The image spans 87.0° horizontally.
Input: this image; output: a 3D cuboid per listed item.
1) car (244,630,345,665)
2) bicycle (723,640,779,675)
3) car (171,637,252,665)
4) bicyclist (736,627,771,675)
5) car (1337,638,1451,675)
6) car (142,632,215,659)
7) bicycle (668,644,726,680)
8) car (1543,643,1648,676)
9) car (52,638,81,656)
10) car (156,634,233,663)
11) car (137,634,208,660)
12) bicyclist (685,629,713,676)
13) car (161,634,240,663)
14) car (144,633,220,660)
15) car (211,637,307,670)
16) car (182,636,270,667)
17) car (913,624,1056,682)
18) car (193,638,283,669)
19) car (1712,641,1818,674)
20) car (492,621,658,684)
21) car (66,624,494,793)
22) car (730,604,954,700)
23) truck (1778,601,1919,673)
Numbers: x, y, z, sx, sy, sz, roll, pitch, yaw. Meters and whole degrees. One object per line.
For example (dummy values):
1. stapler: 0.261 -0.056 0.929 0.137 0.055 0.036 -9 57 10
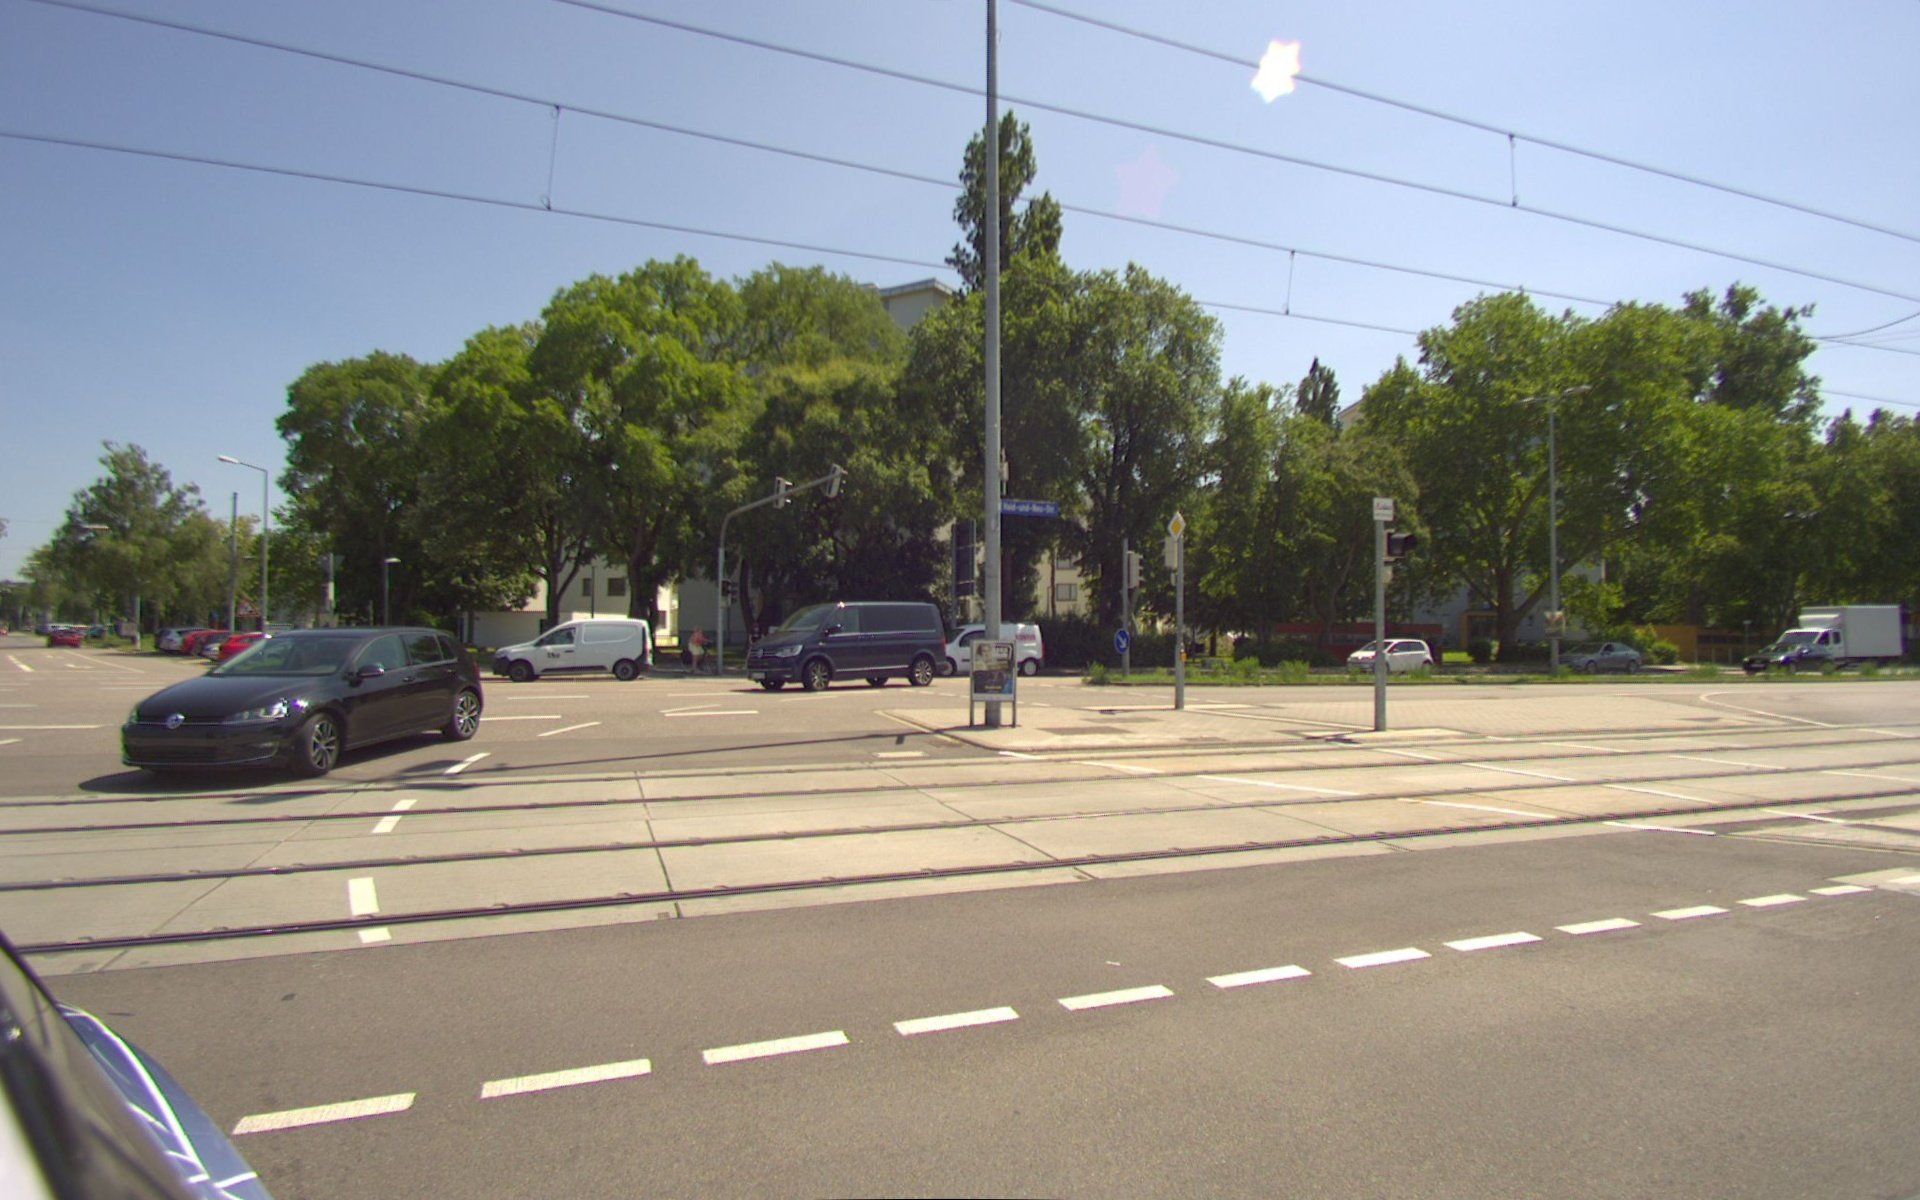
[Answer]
1. car: -29.503 2.095 44.920 1.584 1.439 3.444 -4 -4 41
2. bicycle: -7.097 1.933 34.350 1.794 1.071 0.611 2 0 23
3. car: -41.817 2.832 56.608 1.585 1.439 3.441 -5 -4 44
4. bicyclist: -6.994 1.727 34.314 0.903 1.556 0.643 2 0 22
5. car: 17.668 2.286 41.197 4.141 1.436 1.855 1 -3 -23
6. car: -49.326 2.885 63.901 1.585 1.592 3.441 -5 -4 44
7. bicycle: -8.601 2.014 33.097 1.794 1.071 0.611 2 0 22
8. car: 28.261 2.630 45.010 4.141 1.436 1.855 1 -3 -22
9. car: -68.604 3.636 77.696 1.560 1.236 3.495 1 -4 -43
10. car: -45.540 2.867 60.221 1.585 1.566 3.441 -5 -4 44
11. car: -50.837 3.015 65.394 1.585 1.592 3.441 -5 -4 44
12. bicyclist: -8.532 1.713 33.077 0.625 1.479 0.612 2 -1 22
13. car: -43.857 2.816 58.497 1.585 1.566 3.441 -5 -4 44
14. car: -47.252 2.818 61.506 1.585 1.566 3.441 -5 -4 44
15. car: -32.438 2.463 46.861 1.585 1.439 3.441 -5 -4 44
16. car: -37.660 2.640 51.958 1.585 1.439 3.441 -5 -4 44
17. car: 0.796 1.766 33.555 4.316 1.807 1.903 1 -5 -24
18. car: -35.900 2.639 50.356 1.585 1.439 3.441 -5 -4 44
19. car: 33.269 2.383 41.827 3.930 1.296 1.752 1 -5 -25
20. car: -10.917 1.500 29.014 4.269 1.731 1.816 1 -3 -16
21. car: -7.047 1.013 11.089 1.689 1.415 4.046 0 0 6
22. car: -2.555 1.122 22.757 4.771 1.946 1.945 2 -2 -42
23. truck: 46.265 1.957 52.399 7.578 3.560 2.596 1 -5 -22
